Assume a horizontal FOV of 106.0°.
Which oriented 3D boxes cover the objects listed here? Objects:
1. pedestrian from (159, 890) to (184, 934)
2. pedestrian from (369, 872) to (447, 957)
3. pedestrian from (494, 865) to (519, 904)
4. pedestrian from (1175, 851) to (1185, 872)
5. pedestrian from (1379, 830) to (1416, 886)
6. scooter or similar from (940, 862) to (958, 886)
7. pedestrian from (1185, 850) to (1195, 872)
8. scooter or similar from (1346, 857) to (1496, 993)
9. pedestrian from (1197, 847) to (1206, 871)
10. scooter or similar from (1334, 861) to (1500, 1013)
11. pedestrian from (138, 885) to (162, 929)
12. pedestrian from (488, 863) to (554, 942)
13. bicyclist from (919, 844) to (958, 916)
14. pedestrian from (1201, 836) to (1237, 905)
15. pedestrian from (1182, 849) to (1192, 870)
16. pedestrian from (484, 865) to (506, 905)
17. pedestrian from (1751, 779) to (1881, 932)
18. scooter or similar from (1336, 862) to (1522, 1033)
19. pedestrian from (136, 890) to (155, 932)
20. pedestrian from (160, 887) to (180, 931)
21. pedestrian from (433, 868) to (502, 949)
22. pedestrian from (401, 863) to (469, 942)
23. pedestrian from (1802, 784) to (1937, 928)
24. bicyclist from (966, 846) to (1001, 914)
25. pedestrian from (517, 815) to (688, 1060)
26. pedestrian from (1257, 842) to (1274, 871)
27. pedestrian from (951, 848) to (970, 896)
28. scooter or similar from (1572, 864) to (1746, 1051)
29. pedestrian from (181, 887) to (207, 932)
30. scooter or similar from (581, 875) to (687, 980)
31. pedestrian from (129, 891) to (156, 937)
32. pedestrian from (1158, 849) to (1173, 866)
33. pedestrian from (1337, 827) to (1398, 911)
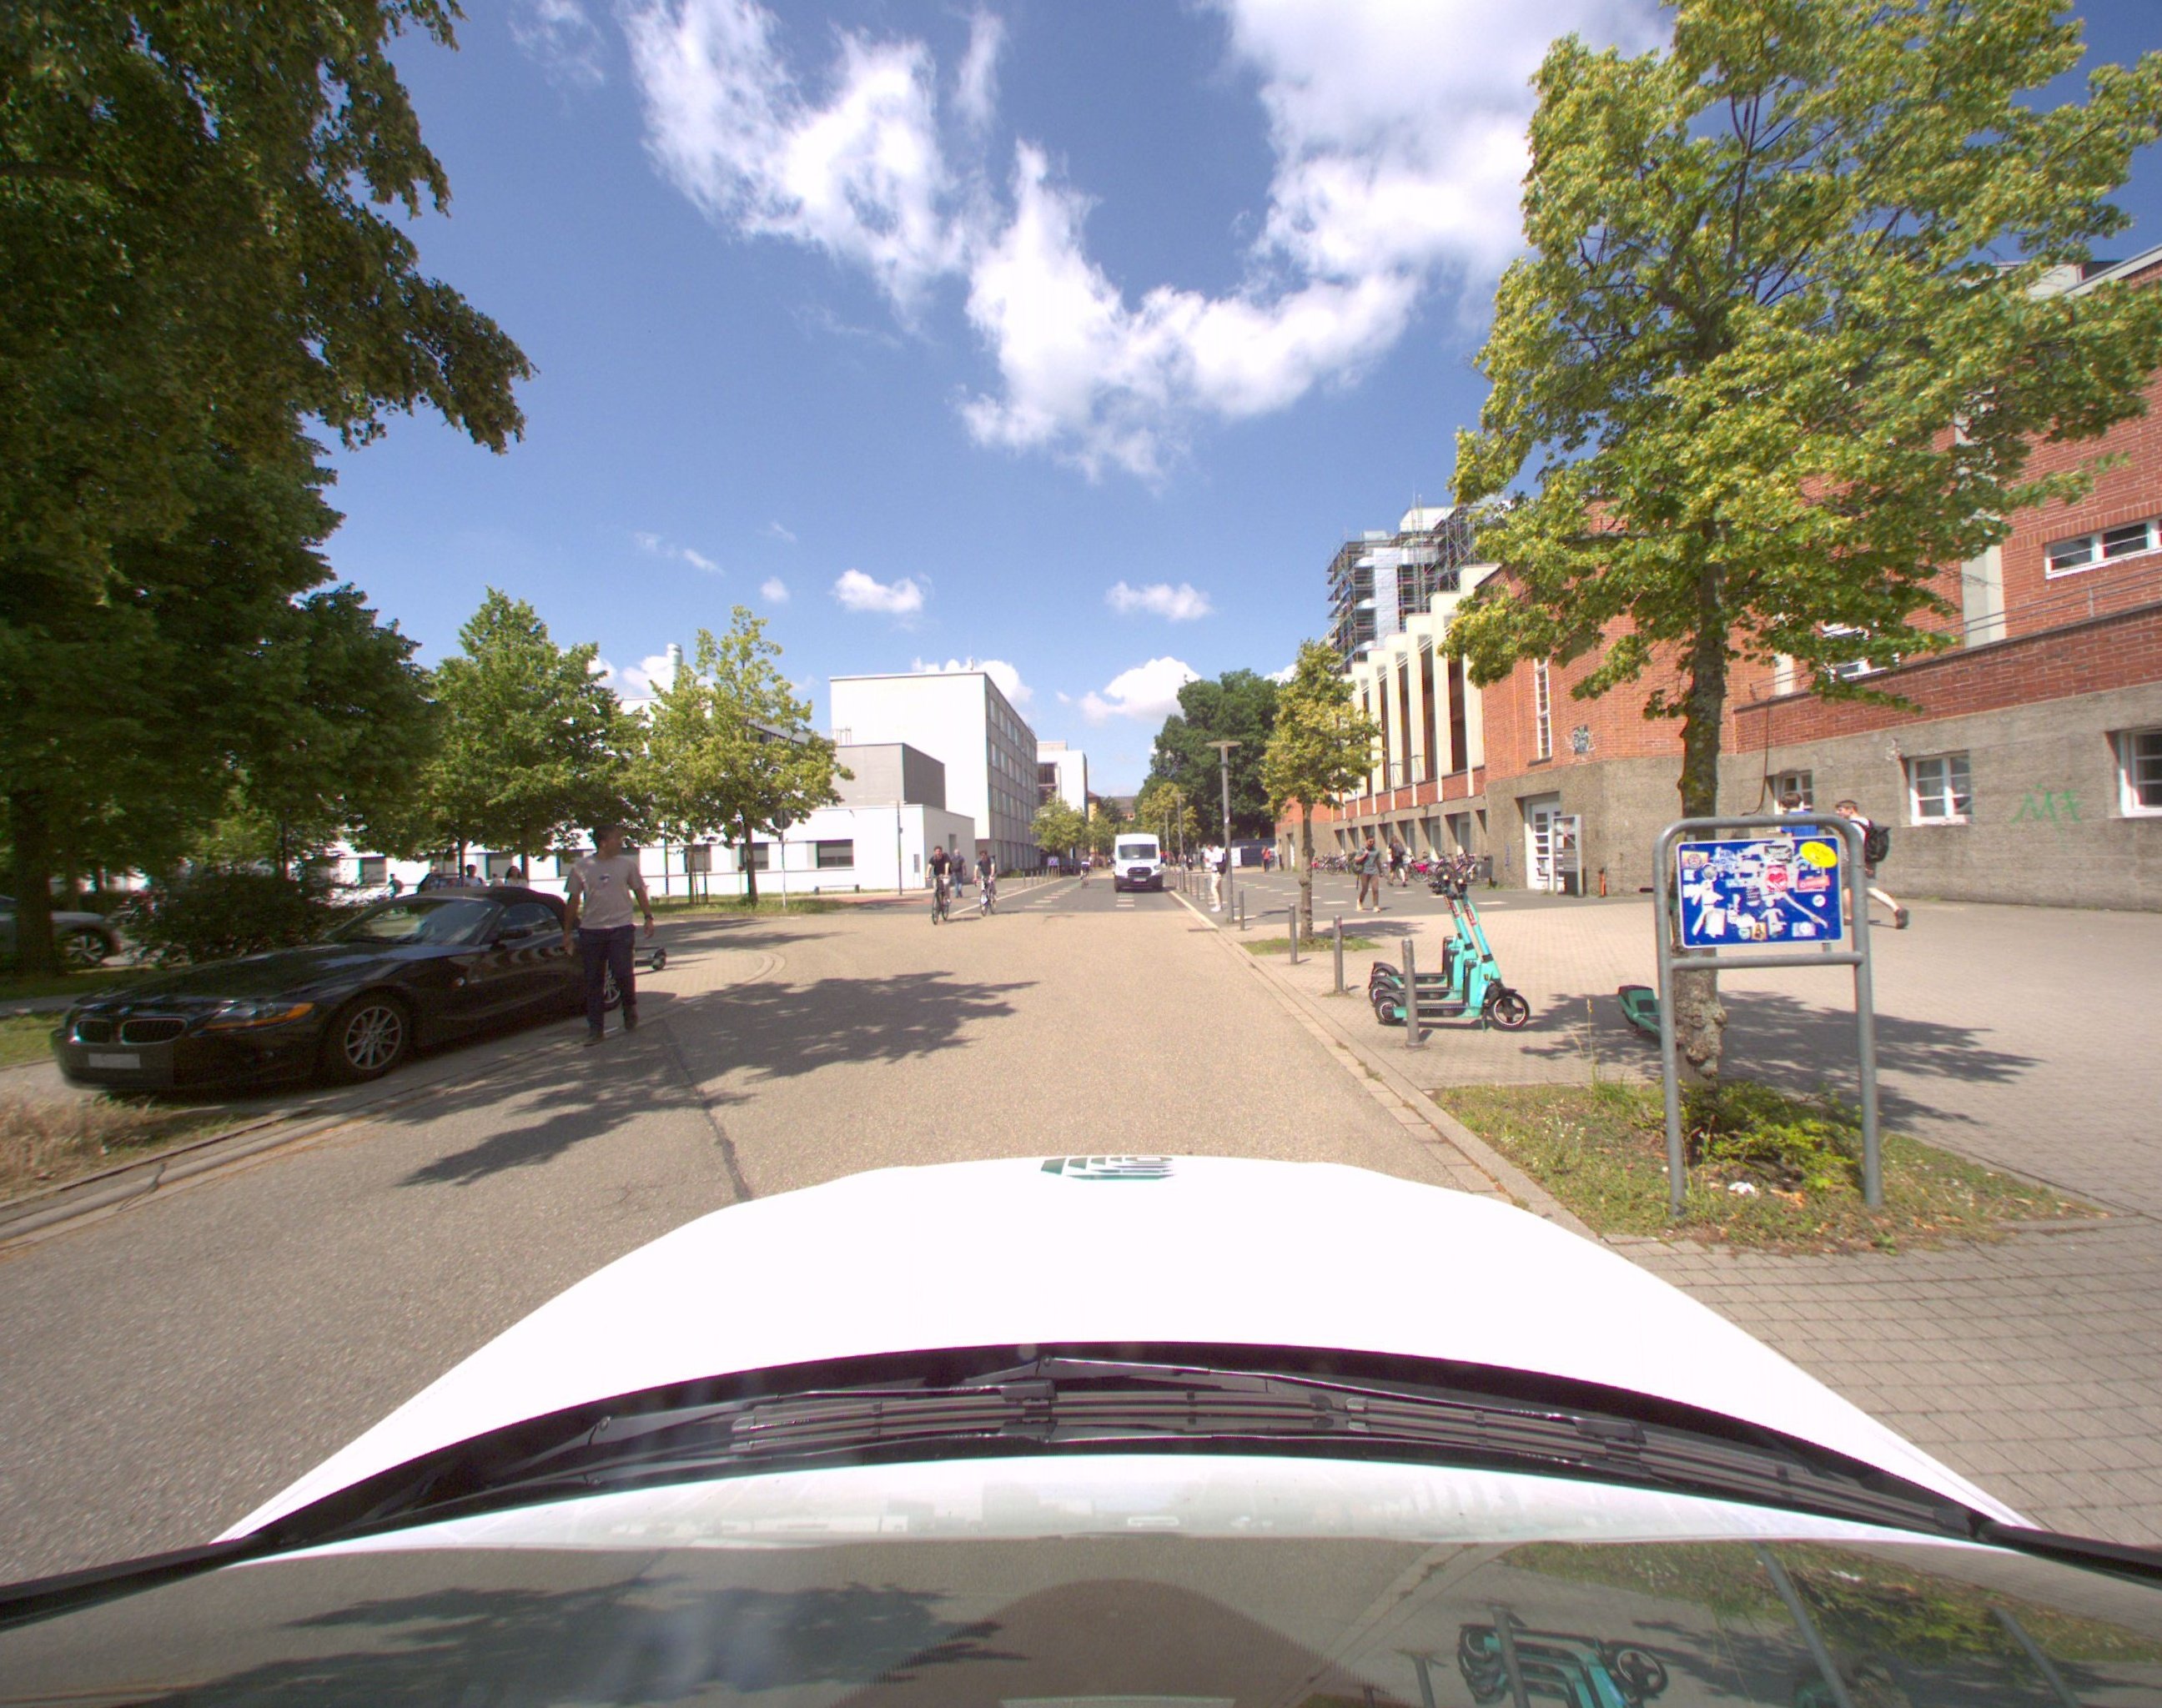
[{"bbox_3d":[-42.722,2.706,38.261,0.694,2.014,0.675,-1,-1,-41],"label":"pedestrian"},{"bbox_3d":[-14.369,1.270,17.407,0.845,1.708,0.858,-2,1,15],"label":"pedestrian"},{"bbox_3d":[-26.667,1.402,37.796,0.690,1.749,0.637,-2,-1,3],"label":"pedestrian"},{"bbox_3d":[8.862,0.667,72.943,0.786,1.860,1.245,-3,0,5],"label":"pedestrian"},{"bbox_3d":[10.770,0.138,27.747,0.787,1.860,1.117,-3,0,3],"label":"pedestrian"},{"bbox_3d":[-6.965,1.069,42.971,0.374,1.216,1.211,-3,0,19],"label":"scooter or similar"},{"bbox_3d":[9.686,0.624,72.563,0.786,1.860,1.027,-3,0,4],"label":"pedestrian"},{"bbox_3d":[3.455,0.697,8.297,1.248,1.265,0.644,-3,0,35],"label":"scooter or similar"},{"bbox_3d":[9.552,0.398,64.403,0.574,1.860,0.570,-3,0,1],"label":"pedestrian"},{"bbox_3d":[3.085,0.724,7.501,1.248,1.265,0.655,-3,0,35],"label":"scooter or similar"},{"bbox_3d":[-43.370,2.446,37.940,0.614,2.014,0.653,-1,-1,-41],"label":"pedestrian"},{"bbox_3d":[-12.842,1.103,18.678,0.843,1.708,0.860,-2,1,27],"label":"pedestrian"},{"bbox_3d":[-3.300,0.598,18.935,0.641,1.601,0.909,-3,0,1],"label":"bicyclist"},{"bbox_3d":[3.562,0.422,21.082,0.699,1.694,0.963,-5,-1,4],"label":"pedestrian"},{"bbox_3d":[9.932,0.522,76.384,0.786,1.860,1.027,-3,0,4],"label":"pedestrian"},{"bbox_3d":[-26.728,1.405,37.141,0.549,1.764,0.587,-2,-1,3],"label":"pedestrian"},{"bbox_3d":[9.720,0.016,10.805,0.701,1.891,0.990,-3,0,-10],"label":"pedestrian"},{"bbox_3d":[2.867,0.727,6.736,1.248,1.265,0.655,-3,0,35],"label":"scooter or similar"},{"bbox_3d":[-45.546,2.756,39.660,0.542,2.014,0.489,-1,-1,-41],"label":"pedestrian"},{"bbox_3d":[-42.143,2.524,37.666,0.542,2.014,0.489,-1,-1,-41],"label":"pedestrian"},{"bbox_3d":[-13.780,1.205,18.304,0.843,1.708,0.860,-2,1,28],"label":"pedestrian"},{"bbox_3d":[-15.070,1.112,19.015,0.843,1.750,0.859,-2,1,23],"label":"pedestrian"},{"bbox_3d":[10.615,0.026,10.994,0.701,1.803,0.990,-5,0,-9],"label":"pedestrian"},{"bbox_3d":[-2.519,0.660,21.188,0.665,1.681,0.993,-3,-1,2],"label":"bicyclist"},{"bbox_3d":[-4.085,0.655,7.080,1.017,1.903,1.171,-1,-1,-18],"label":"pedestrian"},{"bbox_3d":[12.515,0.164,55.180,0.848,1.860,1.116,-3,0,1],"label":"pedestrian"},{"bbox_3d":[-4.578,0.683,30.874,0.667,1.785,0.982,-1,-2,-10],"label":"pedestrian"},{"bbox_3d":[4.110,0.679,5.894,0.643,1.160,1.271,-3,0,19],"label":"scooter or similar"},{"bbox_3d":[-40.959,2.552,37.611,0.694,2.014,0.675,-1,-1,-41],"label":"pedestrian"},{"bbox_3d":[-6.116,0.972,11.198,0.500,1.299,1.221,-3,0,15],"label":"scooter or similar"},{"bbox_3d":[-42.811,2.733,37.160,0.694,2.014,0.675,-1,-1,-41],"label":"pedestrian"},{"bbox_3d":[10.482,0.436,100.841,1.494,1.996,1.647,-5,0,1],"label":"pedestrian"},{"bbox_3d":[6.328,0.317,18.043,0.850,1.732,1.161,-5,0,3],"label":"pedestrian"}]
